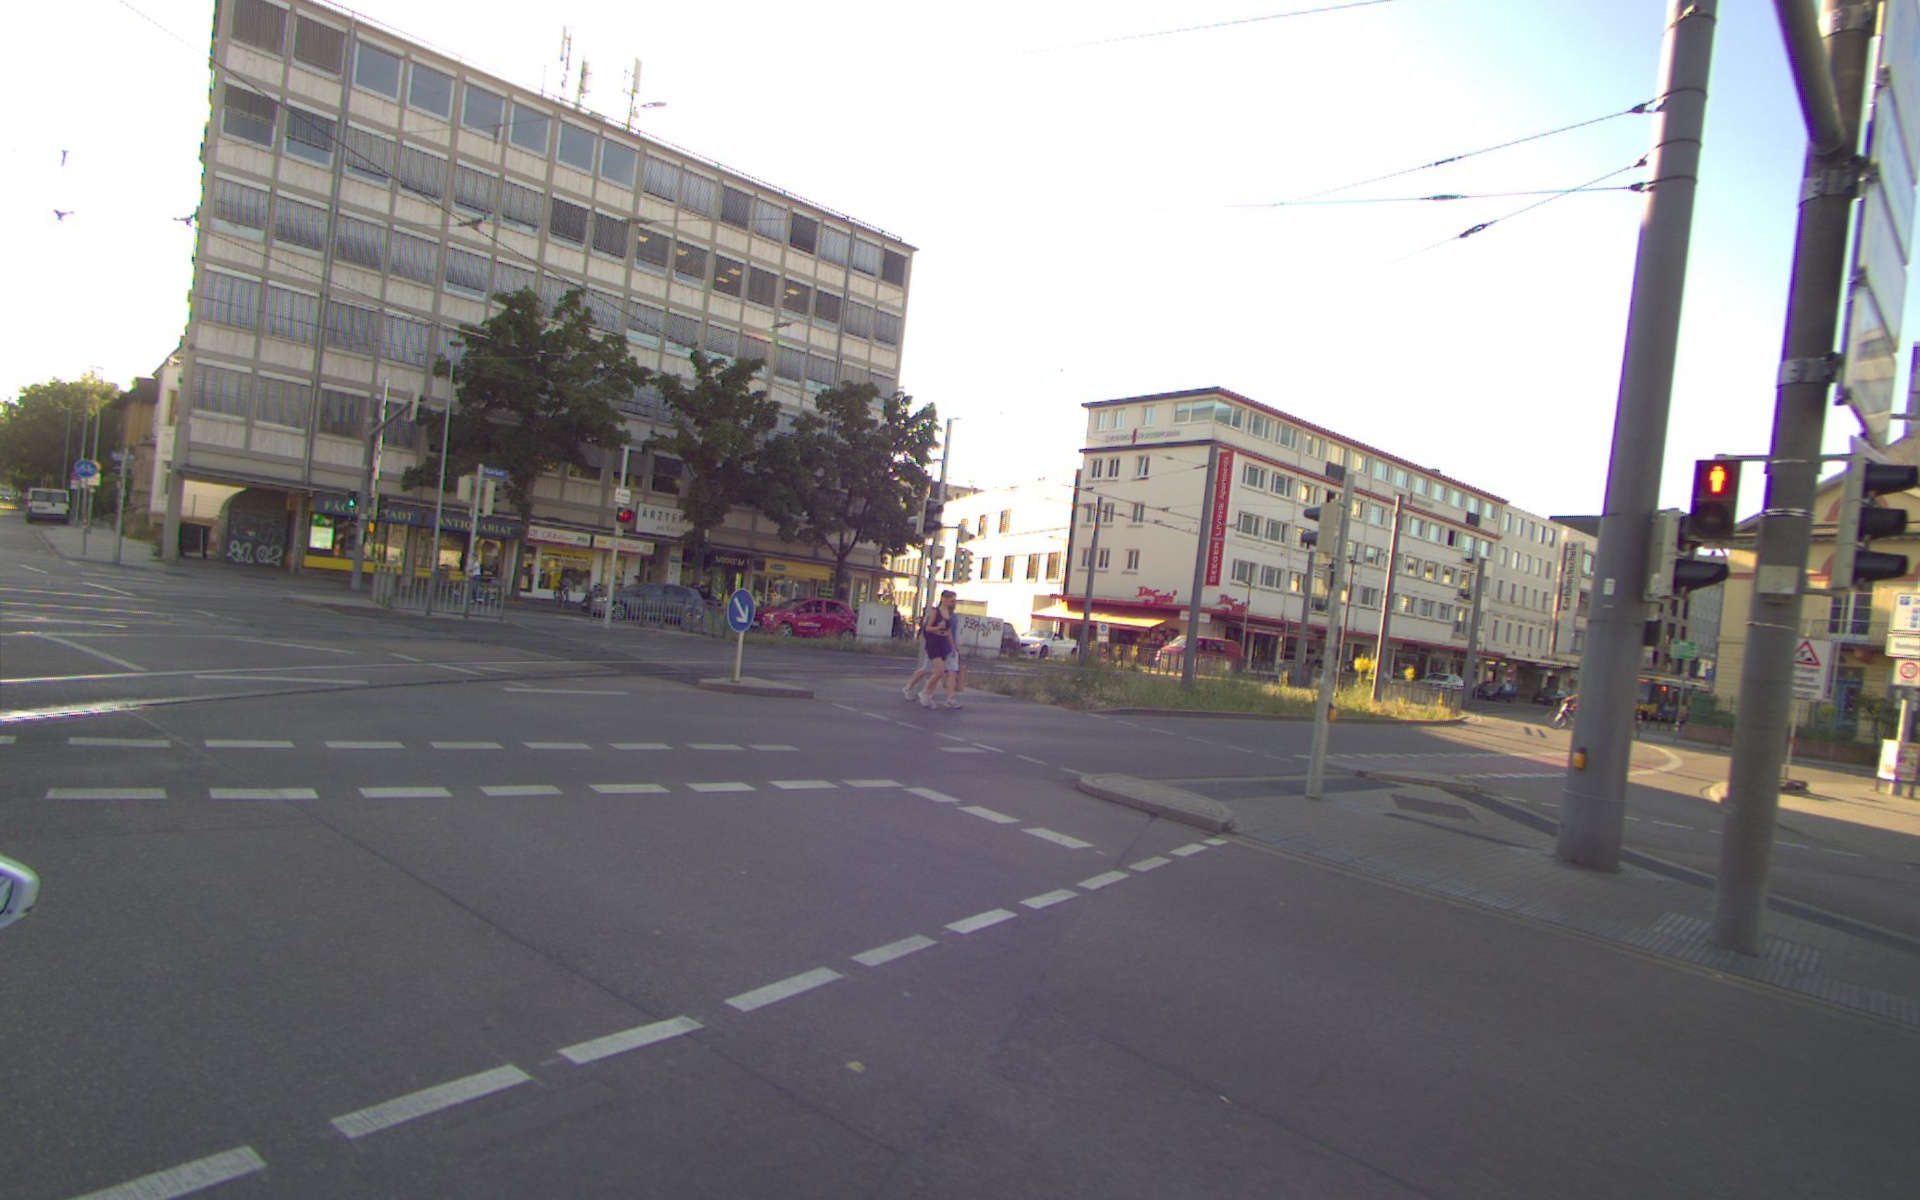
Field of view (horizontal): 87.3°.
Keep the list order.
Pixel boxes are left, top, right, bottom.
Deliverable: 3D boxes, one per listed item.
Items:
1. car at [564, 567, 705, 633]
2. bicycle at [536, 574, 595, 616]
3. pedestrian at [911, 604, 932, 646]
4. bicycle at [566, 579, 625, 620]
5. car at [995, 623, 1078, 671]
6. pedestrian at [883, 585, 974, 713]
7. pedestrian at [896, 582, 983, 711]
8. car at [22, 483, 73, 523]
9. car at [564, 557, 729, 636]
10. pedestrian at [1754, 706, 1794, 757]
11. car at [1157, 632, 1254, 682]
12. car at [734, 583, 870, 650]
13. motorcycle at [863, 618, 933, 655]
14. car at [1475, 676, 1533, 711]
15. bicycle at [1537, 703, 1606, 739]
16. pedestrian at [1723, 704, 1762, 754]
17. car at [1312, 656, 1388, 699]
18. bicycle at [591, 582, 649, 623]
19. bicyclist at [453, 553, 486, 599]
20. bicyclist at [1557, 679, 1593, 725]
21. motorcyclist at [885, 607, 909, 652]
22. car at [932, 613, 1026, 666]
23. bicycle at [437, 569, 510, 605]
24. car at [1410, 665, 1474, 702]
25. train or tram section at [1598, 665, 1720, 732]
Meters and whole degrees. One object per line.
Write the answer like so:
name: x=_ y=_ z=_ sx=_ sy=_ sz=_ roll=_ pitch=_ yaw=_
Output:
car: x=-11.025 y=0.009 z=34.217 sx=4.053 sy=1.636 sz=1.824 roll=9 pitch=-2 yaw=-40
bicycle: x=-14.621 y=-0.187 z=37.209 sx=2.602 sy=1.157 sz=0.749 roll=10 pitch=1 yaw=40
pedestrian: x=-1.948 y=1.248 z=50.370 sx=0.619 sy=2.037 sz=0.712 roll=8 pitch=-1 yaw=-20
bicycle: x=-13.820 y=-0.035 z=38.084 sx=2.602 sy=1.157 sz=0.749 roll=10 pitch=1 yaw=40
car: x=3.407 y=2.085 z=44.146 sx=1.814 sy=1.636 sz=3.993 roll=7 pitch=-2 yaw=33
pedestrian: x=-0.447 y=0.720 z=14.729 sx=1.022 sy=1.702 sz=0.698 roll=7 pitch=-1 yaw=8
pedestrian: x=-0.303 y=0.710 z=15.507 sx=1.022 sy=1.814 sz=0.698 roll=7 pitch=-1 yaw=8
car: x=-60.705 y=-6.404 z=66.963 sx=2.279 sy=2.197 sz=4.776 roll=9 pitch=-2 yaw=-42
car: x=-8.876 y=-0.069 z=28.625 sx=3.973 sy=1.636 sz=1.824 roll=9 pitch=-2 yaw=-40
pedestrian: x=28.794 y=4.649 z=35.599 sx=0.803 sy=1.661 sz=0.686 roll=7 pitch=-1 yaw=22
car: x=12.341 y=2.862 z=50.489 sx=4.580 sy=1.863 sz=1.889 roll=9 pitch=-2 yaw=-31
car: x=-5.217 y=0.567 z=33.537 sx=3.973 sy=1.636 sz=1.824 roll=9 pitch=-2 yaw=-40
motorcycle: x=-2.209 y=1.326 z=36.227 sx=2.653 sy=1.013 sz=0.529 roll=9 pitch=-2 yaw=-40
car: x=41.052 y=7.053 z=75.847 sx=4.836 sy=2.037 sz=1.979 roll=9 pitch=-2 yaw=-38
bicycle: x=21.629 y=4.274 z=35.630 sx=1.956 sy=0.959 sz=0.724 roll=7 pitch=-1 yaw=27
pedestrian: x=27.930 y=4.585 z=35.912 sx=0.803 sy=1.661 sz=0.686 roll=7 pitch=-1 yaw=22
car: x=23.792 y=4.740 z=61.266 sx=4.836 sy=2.037 sz=1.979 roll=9 pitch=-2 yaw=-38
bicycle: x=-13.136 y=0.087 z=38.852 sx=2.602 sy=1.157 sz=0.749 roll=10 pitch=1 yaw=40
bicyclist: x=-16.481 y=-0.806 z=33.798 sx=0.662 sy=1.440 sz=0.678 roll=7 pitch=-1 yaw=45
bicyclist: x=21.773 y=3.617 z=35.605 sx=0.882 sy=1.474 sz=0.724 roll=7 pitch=-1 yaw=28
motorcyclist: x=-2.250 y=1.059 z=36.157 sx=0.458 sy=1.526 sz=0.529 roll=8 pitch=-1 yaw=-40
car: x=0.801 y=1.586 z=39.547 sx=1.813 sy=1.636 sz=3.995 roll=7 pitch=-2 yaw=31
bicycle: x=-16.390 y=-0.430 z=33.924 sx=0.662 sy=0.951 sz=2.021 roll=6 pitch=-2 yaw=44
car: x=33.968 y=5.892 z=70.839 sx=4.836 sy=2.037 sz=1.979 roll=9 pitch=-2 yaw=-38
train or tram section: x=50.622 y=7.175 z=72.560 sx=13.260 sy=3.880 sz=3.674 roll=7 pitch=-1 yaw=-40
